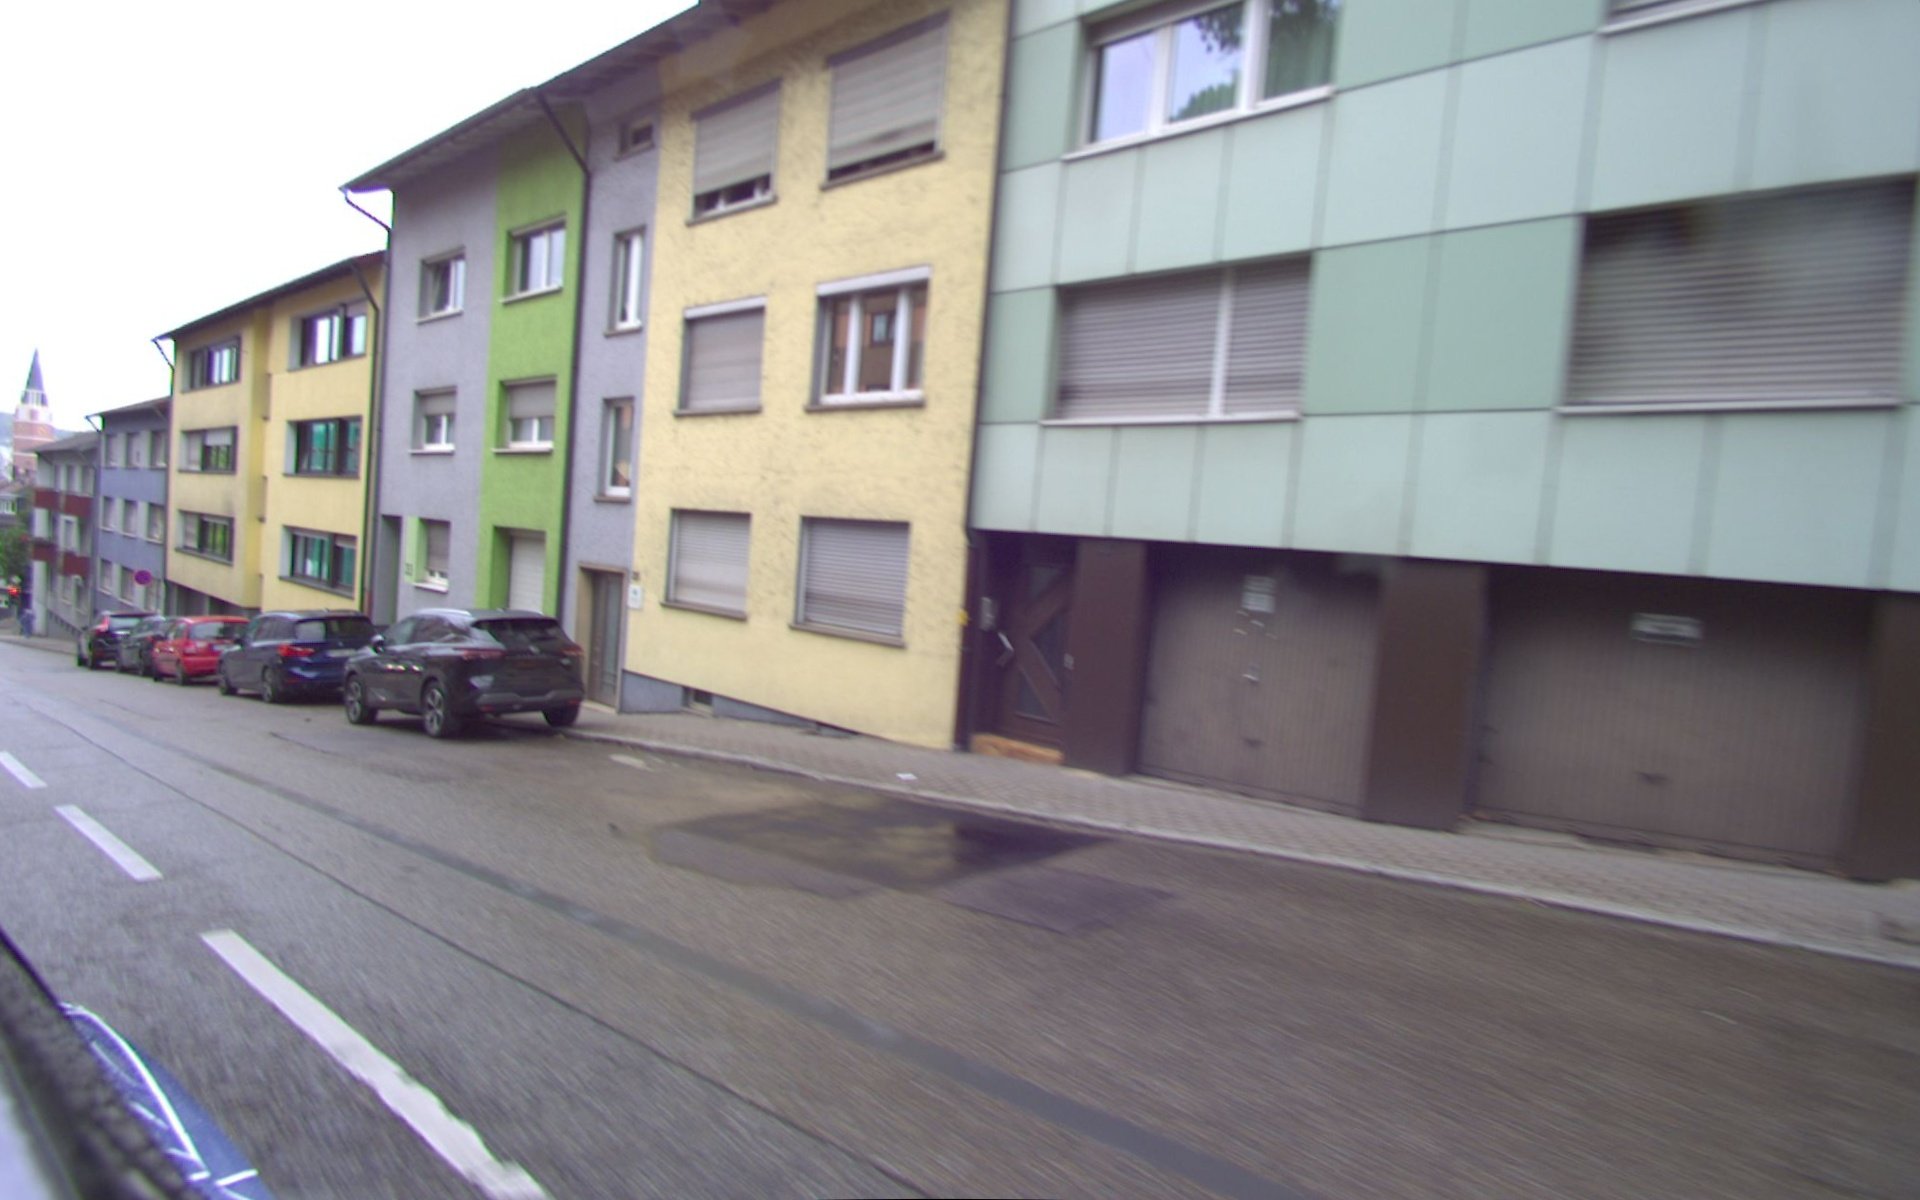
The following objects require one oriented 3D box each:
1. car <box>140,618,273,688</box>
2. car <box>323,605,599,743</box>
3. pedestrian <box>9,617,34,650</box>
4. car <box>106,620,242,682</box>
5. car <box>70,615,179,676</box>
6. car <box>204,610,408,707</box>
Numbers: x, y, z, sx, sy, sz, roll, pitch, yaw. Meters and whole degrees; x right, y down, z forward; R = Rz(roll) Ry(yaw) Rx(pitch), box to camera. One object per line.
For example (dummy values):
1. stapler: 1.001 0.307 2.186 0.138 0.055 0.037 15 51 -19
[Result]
1. car: -17.382 1.187 23.306 3.488 1.483 1.711 -1 -2 40
2. car: -6.928 0.922 13.863 4.302 1.597 1.834 -1 -2 40
3. pedestrian: -53.288 1.909 57.462 1.088 1.551 0.860 -28 -18 37
4. car: -20.831 1.304 26.763 4.345 1.483 1.973 -1 -2 40
5. car: -24.873 1.315 30.069 4.442 1.662 1.971 -2 -3 44
6. car: -12.243 1.030 18.847 4.468 1.597 1.973 -1 -2 40
